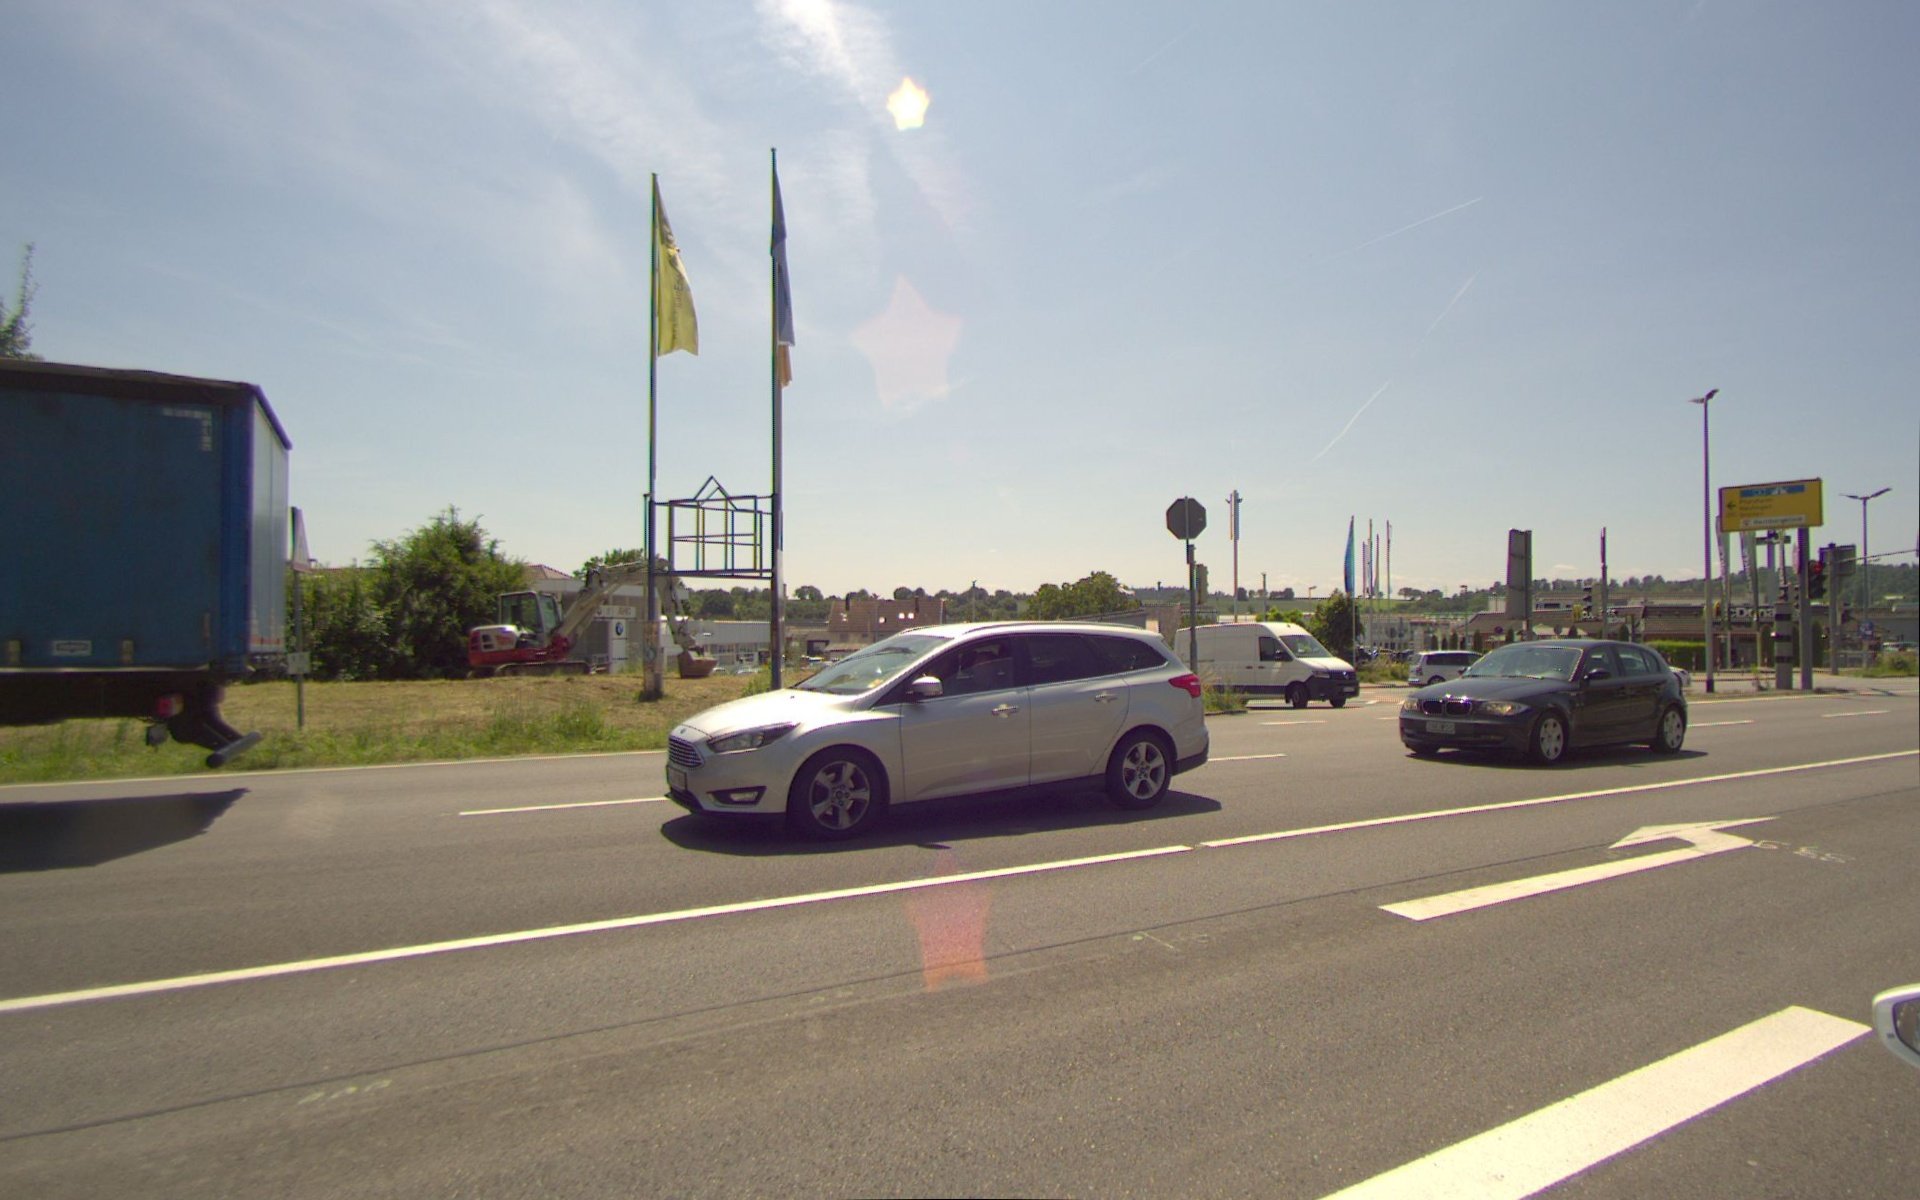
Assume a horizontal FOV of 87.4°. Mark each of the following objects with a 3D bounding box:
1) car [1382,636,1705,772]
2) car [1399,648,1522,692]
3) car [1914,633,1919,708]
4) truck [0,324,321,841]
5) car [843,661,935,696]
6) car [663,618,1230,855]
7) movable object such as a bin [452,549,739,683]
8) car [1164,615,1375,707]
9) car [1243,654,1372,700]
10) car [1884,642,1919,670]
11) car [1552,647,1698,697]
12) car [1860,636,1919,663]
[{"bbox_3d":[7.180,1.165,12.299,3.968,1.422,1.655,1,-2,-30],"label":"car"},{"bbox_3d":[20.071,2.788,40.423,4.112,1.622,1.751,0,-2,10],"label":"car"},{"bbox_3d":[21.706,1.484,20.731,4.354,1.523,1.733,3,-4,-30],"label":"car"},{"bbox_3d":[-10.552,-0.222,5.783,11.346,3.395,2.833,2,-2,-30],"label":"truck"},{"bbox_3d":[-3.365,3.723,47.942,4.113,1.622,1.751,0,-2,10],"label":"car"},{"bbox_3d":[-0.021,0.930,8.010,4.214,1.445,1.781,2,-3,-31],"label":"car"},{"bbox_3d":[-9.752,0.444,27.199,6.654,3.342,3.055,0,-2,12],"label":"movable object such as a bin"},{"bbox_3d":[9.188,1.941,30.434,2.173,2.519,5.955,1,-6,-35],"label":"car"},{"bbox_3d":[13.097,2.905,38.078,4.321,1.621,1.751,-2,-3,10],"label":"car"},{"bbox_3d":[71.263,4.154,74.270,3.919,2.040,1.945,0,-2,6],"label":"car"},{"bbox_3d":[23.662,2.539,35.878,3.932,1.500,1.791,2,-1,12],"label":"car"},{"bbox_3d":[71.474,3.758,76.477,3.919,2.040,1.945,0,-2,6],"label":"car"}]
